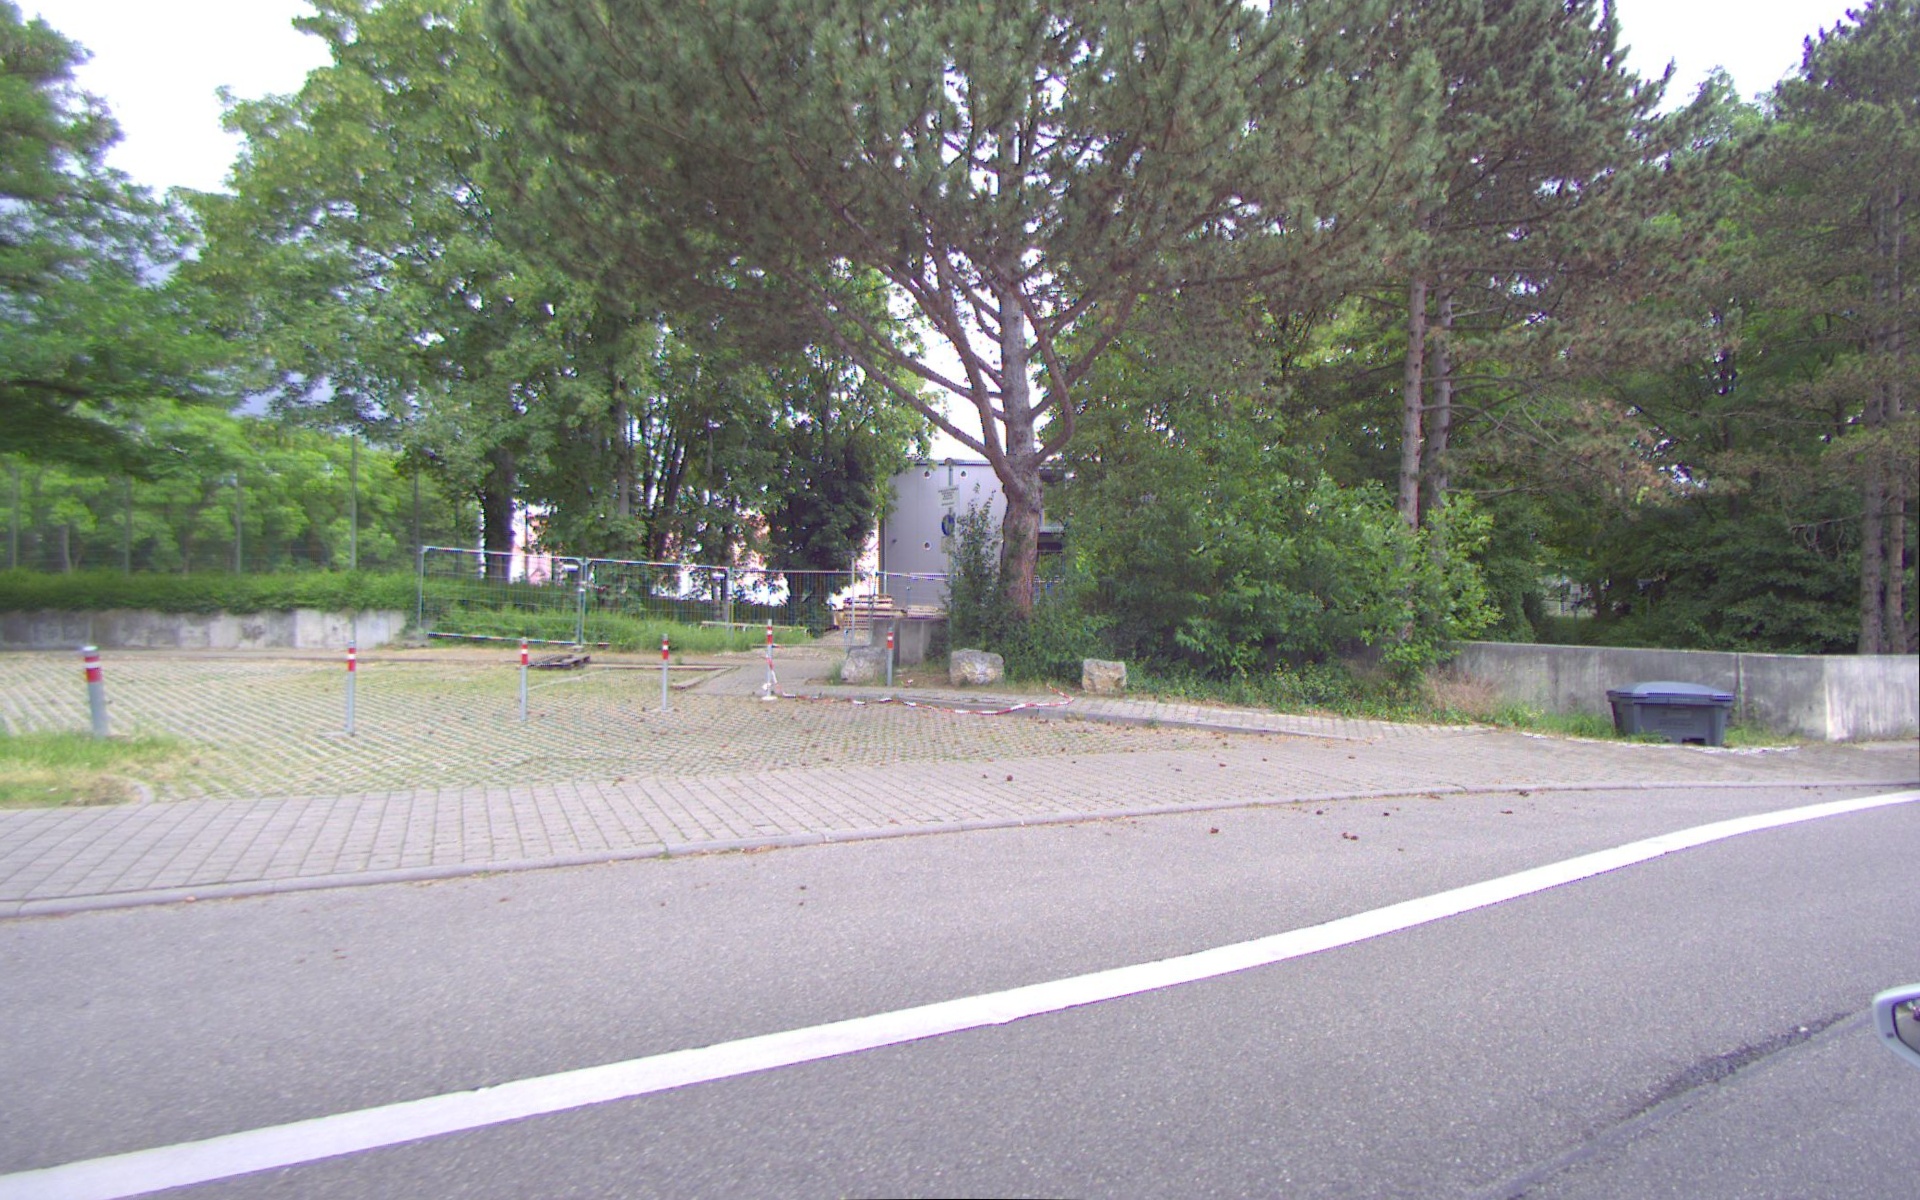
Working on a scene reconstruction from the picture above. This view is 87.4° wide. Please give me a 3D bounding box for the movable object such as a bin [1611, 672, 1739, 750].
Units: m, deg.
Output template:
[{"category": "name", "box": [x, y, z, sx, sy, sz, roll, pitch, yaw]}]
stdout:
[{"category": "movable object such as a bin", "box": [8.585, 1.316, 12.128, 1.127, 0.770, 1.047, 2, 0, 30]}]
